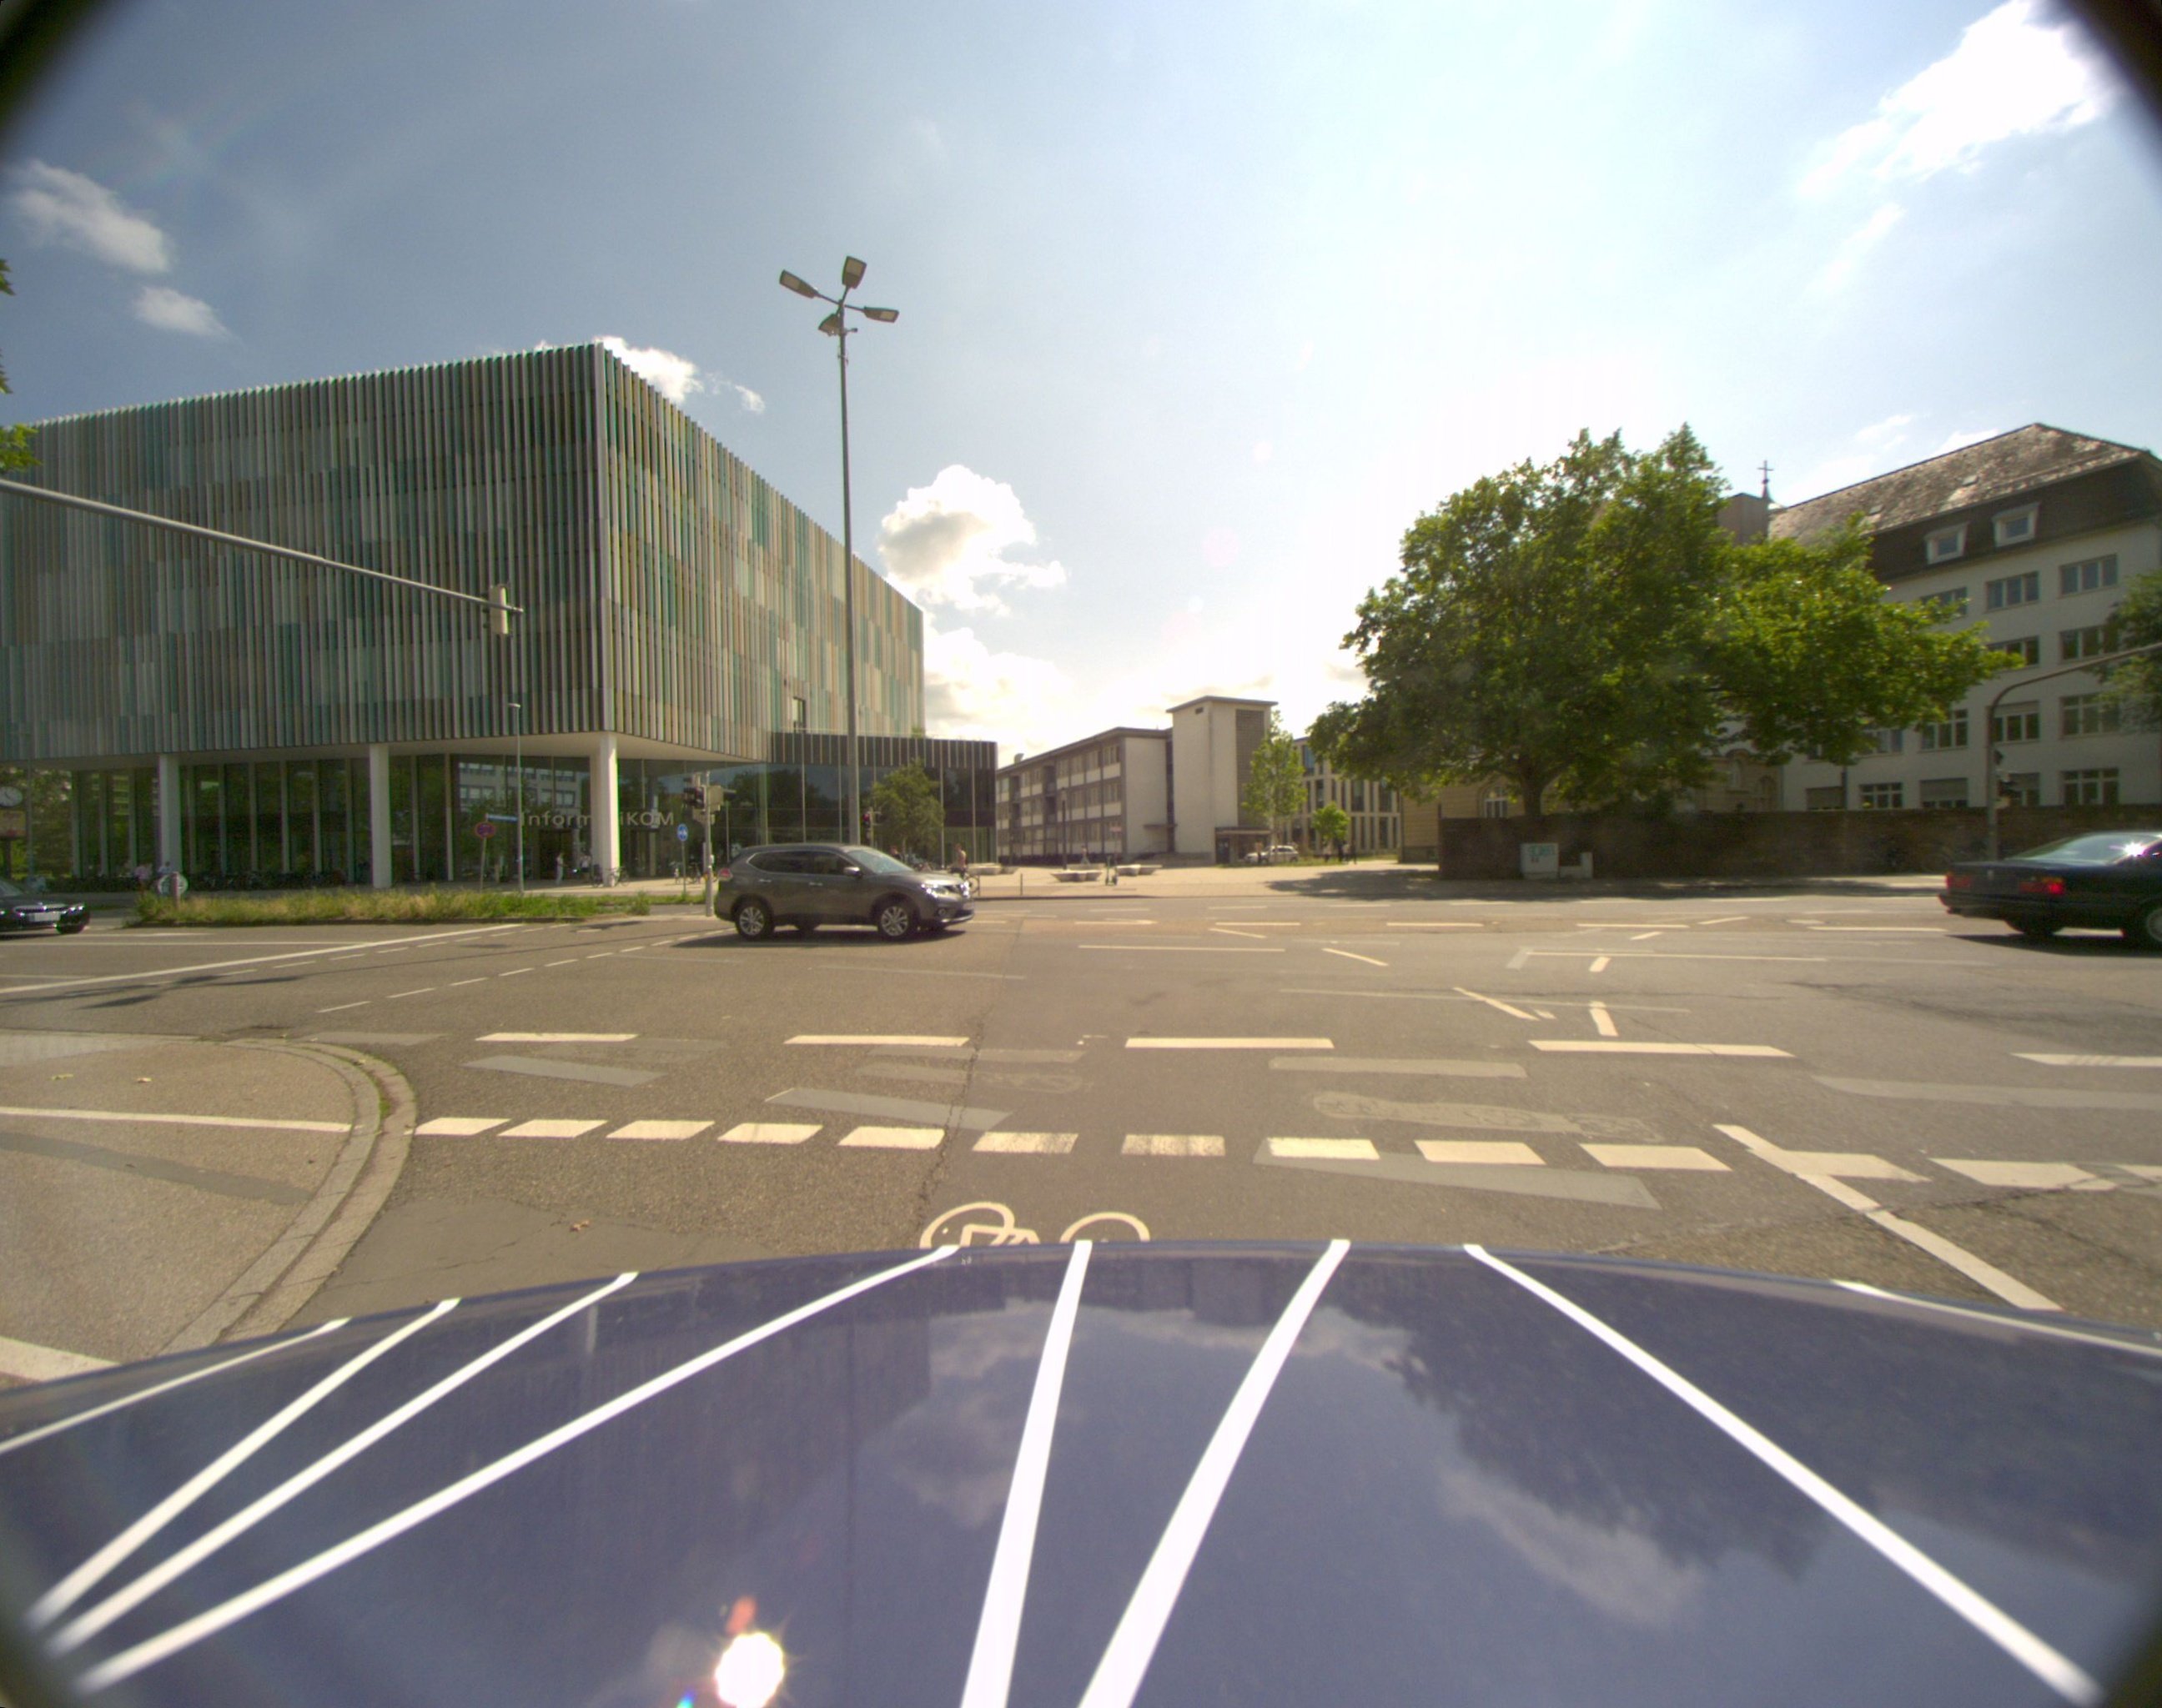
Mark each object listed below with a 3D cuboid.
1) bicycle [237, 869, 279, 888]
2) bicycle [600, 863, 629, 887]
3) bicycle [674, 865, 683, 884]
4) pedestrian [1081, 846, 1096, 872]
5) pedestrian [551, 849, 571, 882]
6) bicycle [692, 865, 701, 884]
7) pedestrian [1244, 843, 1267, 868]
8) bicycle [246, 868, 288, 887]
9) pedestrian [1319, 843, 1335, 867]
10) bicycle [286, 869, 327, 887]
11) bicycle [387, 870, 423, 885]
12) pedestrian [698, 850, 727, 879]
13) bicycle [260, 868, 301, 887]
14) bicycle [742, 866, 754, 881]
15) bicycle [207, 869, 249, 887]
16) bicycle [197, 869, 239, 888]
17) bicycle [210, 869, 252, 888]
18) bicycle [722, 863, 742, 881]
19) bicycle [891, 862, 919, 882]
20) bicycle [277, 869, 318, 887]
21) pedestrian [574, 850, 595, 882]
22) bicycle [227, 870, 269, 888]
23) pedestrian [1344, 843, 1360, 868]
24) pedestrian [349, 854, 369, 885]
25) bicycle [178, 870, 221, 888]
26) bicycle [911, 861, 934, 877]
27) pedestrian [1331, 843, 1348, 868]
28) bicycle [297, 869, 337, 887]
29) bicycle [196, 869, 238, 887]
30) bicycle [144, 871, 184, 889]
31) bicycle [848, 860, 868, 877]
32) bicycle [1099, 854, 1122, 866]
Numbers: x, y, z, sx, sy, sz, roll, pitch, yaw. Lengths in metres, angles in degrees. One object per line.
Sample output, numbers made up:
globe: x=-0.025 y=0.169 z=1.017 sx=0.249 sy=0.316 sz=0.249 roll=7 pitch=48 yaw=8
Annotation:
bicycle: x=-47.047 y=1.392 z=43.469 sx=0.372 sy=0.950 sz=1.548 roll=0 pitch=2 yaw=24
bicycle: x=-24.374 y=1.088 z=39.738 sx=0.373 sy=1.180 sz=1.547 roll=1 pitch=2 yaw=8
bicycle: x=-21.839 y=1.117 z=41.179 sx=0.374 sy=0.950 sz=1.543 roll=-1 pitch=1 yaw=-29
pedestrian: x=0.533 y=0.350 z=53.748 sx=0.844 sy=1.779 sz=0.676 roll=-1 pitch=1 yaw=-20
pedestrian: x=-29.299 y=0.654 z=42.848 sx=0.516 sy=1.831 sz=0.790 roll=1 pitch=2 yaw=44
bicycle: x=-21.183 y=1.105 z=41.820 sx=0.374 sy=0.950 sz=1.769 roll=-1 pitch=1 yaw=-29
pedestrian: x=11.744 y=0.112 z=51.119 sx=1.296 sy=1.641 sz=1.328 roll=-1 pitch=1 yaw=22
bicycle: x=-46.407 y=1.341 z=43.346 sx=0.372 sy=0.950 sz=1.548 roll=0 pitch=2 yaw=24
pedestrian: x=18.336 y=0.097 z=56.554 sx=0.845 sy=1.779 sz=0.812 roll=-2 pitch=1 yaw=-45
bicycle: x=-44.007 y=1.366 z=43.170 sx=0.372 sy=0.950 sz=1.548 roll=0 pitch=2 yaw=24
bicycle: x=-38.108 y=1.307 z=42.867 sx=0.373 sy=0.771 sz=1.547 roll=0 pitch=2 yaw=13
pedestrian: x=-21.581 y=0.595 z=44.540 sx=1.013 sy=1.641 sz=1.183 roll=-1 pitch=1 yaw=10
bicycle: x=-45.809 y=1.340 z=43.500 sx=0.372 sy=0.950 sz=1.548 roll=0 pitch=2 yaw=24
bicycle: x=-18.706 y=1.070 z=42.683 sx=0.529 sy=0.759 sz=1.770 roll=-1 pitch=1 yaw=-22
bicycle: x=-49.537 y=1.389 z=44.142 sx=0.372 sy=0.950 sz=1.548 roll=0 pitch=2 yaw=24
bicycle: x=-50.139 y=1.417 z=44.163 sx=0.372 sy=0.950 sz=1.548 roll=0 pitch=2 yaw=24
bicycle: x=-49.015 y=1.403 z=43.823 sx=0.372 sy=0.950 sz=1.548 roll=0 pitch=2 yaw=24
bicycle: x=-19.489 y=1.011 z=42.449 sx=0.529 sy=0.950 sz=1.771 roll=-1 pitch=1 yaw=-10
bicycle: x=-8.876 y=0.904 z=38.311 sx=0.530 sy=0.950 sz=1.768 roll=-2 pitch=2 yaw=-43
bicycle: x=-44.679 y=1.345 z=43.326 sx=0.372 sy=0.950 sz=1.548 roll=0 pitch=2 yaw=24
pedestrian: x=-28.533 y=0.685 z=43.691 sx=0.677 sy=1.831 sz=0.692 roll=0 pitch=2 yaw=17
bicycle: x=-48.008 y=1.419 z=43.801 sx=0.372 sy=0.950 sz=1.548 roll=0 pitch=2 yaw=24
pedestrian: x=19.674 y=0.096 z=55.100 sx=0.863 sy=1.779 sz=0.845 roll=0 pitch=1 yaw=37
pedestrian: x=-43.085 y=0.916 z=45.325 sx=0.554 sy=1.831 sz=0.562 roll=-1 pitch=2 yaw=2
bicycle: x=-51.700 y=1.444 z=44.581 sx=0.372 sy=0.950 sz=1.548 roll=0 pitch=2 yaw=24
bicycle: x=-9.801 y=0.900 z=46.859 sx=0.530 sy=0.950 sz=1.768 roll=-2 pitch=2 yaw=-43
pedestrian: x=19.004 y=0.120 z=55.847 sx=0.890 sy=1.779 sz=0.845 roll=0 pitch=1 yaw=41
bicycle: x=-43.375 y=1.359 z=43.152 sx=0.372 sy=0.950 sz=1.548 roll=0 pitch=2 yaw=24
bicycle: x=-50.492 y=1.382 z=44.400 sx=0.372 sy=0.950 sz=1.548 roll=0 pitch=2 yaw=24
bicycle: x=-52.702 y=1.501 z=43.683 sx=0.373 sy=0.950 sz=1.546 roll=-1 pitch=2 yaw=-1
bicycle: x=-13.347 y=0.846 z=45.459 sx=0.530 sy=0.950 sz=1.768 roll=-2 pitch=2 yaw=-36
bicycle: x=2.422 y=0.518 z=62.686 sx=1.774 sy=0.950 sz=0.528 roll=0 pitch=2 yaw=-16
